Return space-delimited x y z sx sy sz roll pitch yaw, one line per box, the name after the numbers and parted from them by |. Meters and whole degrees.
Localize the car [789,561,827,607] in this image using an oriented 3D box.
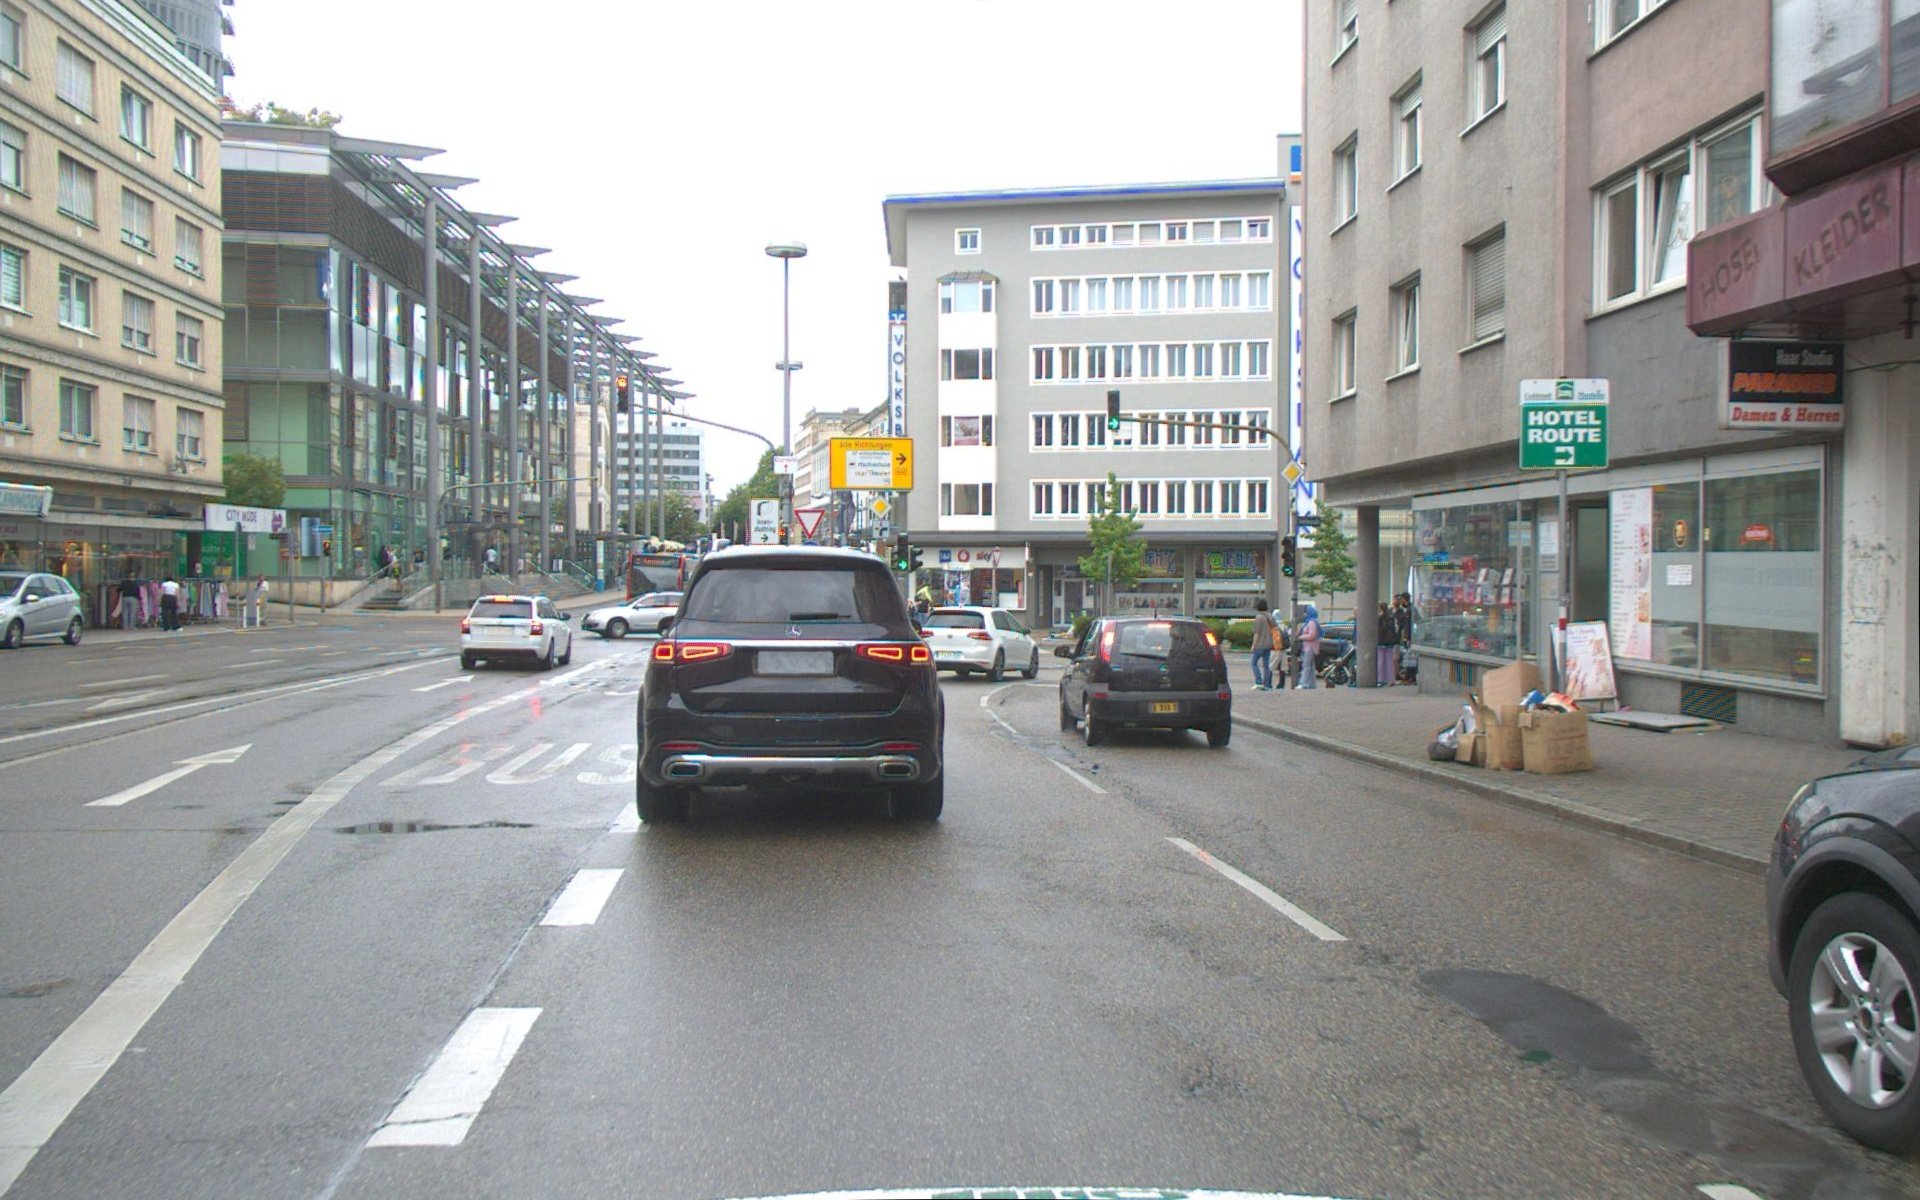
-10.679 -1.134 115.972 2.398 3.009 6.144 2 0 -7 | car

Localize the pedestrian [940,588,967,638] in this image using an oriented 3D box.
-0.251 0.473 60.369 0.815 1.809 0.616 2 0 -11 | pedestrian

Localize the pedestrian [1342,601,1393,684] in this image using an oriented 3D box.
8.748 0.908 35.537 1.013 1.753 0.839 -1 -1 12 | pedestrian

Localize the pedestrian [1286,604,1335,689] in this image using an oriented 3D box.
7.031 0.939 33.189 0.731 1.664 0.594 -4 -5 37 | pedestrian

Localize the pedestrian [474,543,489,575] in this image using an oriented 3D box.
-27.027 -2.317 93.434 0.668 1.743 0.848 1 0 -10 | pedestrian

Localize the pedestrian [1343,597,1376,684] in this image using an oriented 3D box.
8.923 0.913 36.987 0.602 1.900 0.787 -3 -5 11 | pedestrian

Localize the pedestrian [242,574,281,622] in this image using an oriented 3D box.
-23.841 -0.067 56.464 0.854 1.614 1.154 1 0 -2 | pedestrian

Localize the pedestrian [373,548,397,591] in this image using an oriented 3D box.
-27.483 -1.463 79.065 0.863 2.015 0.974 1 0 -5 | pedestrian

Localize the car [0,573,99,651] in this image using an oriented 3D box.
-20.587 0.211 35.970 1.666 1.590 4.199 1 0 -3 | car

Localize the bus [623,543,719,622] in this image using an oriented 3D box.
-14.096 -0.801 82.217 2.863 3.379 18.461 2 0 -4 | bus

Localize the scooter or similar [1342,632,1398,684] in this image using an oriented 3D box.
8.175 1.163 33.037 0.755 1.003 1.047 -1 -3 -6 | scooter or similar

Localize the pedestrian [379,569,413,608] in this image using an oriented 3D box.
-25.577 -0.511 75.005 1.018 1.743 1.007 1 0 22 | pedestrian

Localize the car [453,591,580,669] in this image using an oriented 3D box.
-9.017 0.564 33.974 1.757 1.440 4.626 1 1 -6 | car

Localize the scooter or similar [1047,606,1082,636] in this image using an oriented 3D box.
4.371 0.872 69.140 1.350 1.208 0.544 0 0 15 | scooter or similar

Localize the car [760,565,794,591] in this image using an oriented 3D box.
-13.865 -1.677 125.699 2.376 1.811 5.149 2 0 -5 | car

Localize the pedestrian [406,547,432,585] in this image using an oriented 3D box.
-25.769 -1.604 78.799 1.020 1.743 1.005 1 0 -10 | pedestrian

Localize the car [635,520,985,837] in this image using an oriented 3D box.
-1.210 0.426 12.166 2.048 1.848 4.784 1 1 -8 | car

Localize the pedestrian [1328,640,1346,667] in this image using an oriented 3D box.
8.146 1.151 35.718 0.363 0.581 0.459 -1 -1 14 | pedestrian

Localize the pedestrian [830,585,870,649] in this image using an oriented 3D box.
-2.989 0.456 45.004 0.958 1.701 0.915 2 0 0 | pedestrian

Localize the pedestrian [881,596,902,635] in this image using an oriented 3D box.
-2.444 0.545 59.105 0.618 1.363 0.586 2 0 -11 | pedestrian

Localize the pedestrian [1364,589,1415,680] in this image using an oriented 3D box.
8.352 0.679 32.205 0.818 1.753 0.618 -1 -3 3 | pedestrian

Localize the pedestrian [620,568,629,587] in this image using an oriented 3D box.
-23.475 -1.579 115.800 0.499 1.364 0.419 2 0 -1 | pedestrian

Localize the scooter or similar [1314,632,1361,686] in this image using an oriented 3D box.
8.156 1.278 35.685 0.949 1.128 0.655 -1 -1 14 | scooter or similar

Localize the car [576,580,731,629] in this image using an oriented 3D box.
-9.875 0.141 53.315 4.673 1.471 1.779 1 0 -23 | car

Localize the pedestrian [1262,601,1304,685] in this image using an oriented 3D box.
6.611 0.898 33.865 0.528 1.666 0.837 -2 -4 -5 | pedestrian

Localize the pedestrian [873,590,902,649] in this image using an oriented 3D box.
-2.012 0.553 46.053 0.698 1.595 0.854 2 -1 0 | pedestrian

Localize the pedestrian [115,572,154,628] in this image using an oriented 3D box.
-23.600 -0.014 47.295 0.770 1.563 0.680 2 0 -7 | pedestrian

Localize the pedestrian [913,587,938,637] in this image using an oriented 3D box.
-1.234 0.427 59.135 0.764 1.718 0.639 2 0 4 | pedestrian

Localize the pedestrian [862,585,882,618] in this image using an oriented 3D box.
-4.977 0.069 93.509 1.004 1.806 0.798 2 0 -11 | pedestrian

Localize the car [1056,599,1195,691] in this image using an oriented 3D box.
3.450 0.862 33.721 1.909 1.601 4.002 3 2 19 | car

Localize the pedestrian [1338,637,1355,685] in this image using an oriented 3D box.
8.462 1.326 36.186 0.255 1.017 0.472 -4 -2 18 | pedestrian

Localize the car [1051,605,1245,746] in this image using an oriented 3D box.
2.107 0.824 19.460 1.682 1.445 3.768 2 -1 -2 | car

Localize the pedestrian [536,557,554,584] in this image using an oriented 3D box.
-27.241 -1.932 108.647 1.020 1.743 1.005 1 0 -10 | pedestrian

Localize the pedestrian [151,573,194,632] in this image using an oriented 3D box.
-22.494 0.071 47.222 0.761 1.656 0.840 2 0 41 | pedestrian

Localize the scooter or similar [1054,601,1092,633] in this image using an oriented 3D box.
4.852 0.734 70.921 1.465 1.279 0.931 2 -2 15 | scooter or similar

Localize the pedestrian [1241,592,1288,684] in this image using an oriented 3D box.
5.735 0.719 31.163 0.614 1.722 0.780 -2 -2 30 | pedestrian

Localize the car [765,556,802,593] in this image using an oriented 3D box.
-17.807 -2.535 167.294 2.393 3.525 6.157 2 0 5 | car

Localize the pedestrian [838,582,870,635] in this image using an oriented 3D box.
-3.805 0.302 59.370 0.992 1.818 0.851 2 0 -11 | pedestrian

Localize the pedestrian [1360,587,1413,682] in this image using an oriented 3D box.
8.710 0.709 33.830 0.818 1.898 0.658 -2 -4 -1 | pedestrian

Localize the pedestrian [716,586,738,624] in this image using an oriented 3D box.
-12.139 0.239 86.255 0.935 1.919 0.810 2 0 2 | pedestrian

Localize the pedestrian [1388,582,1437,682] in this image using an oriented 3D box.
9.048 0.642 33.086 0.800 1.965 0.732 0 -1 3 | pedestrian

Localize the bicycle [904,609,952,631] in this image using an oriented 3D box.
-1.483 0.919 76.399 2.092 1.010 0.695 1 0 9 | bicycle

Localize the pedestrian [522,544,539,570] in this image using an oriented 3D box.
-29.878 -2.960 114.937 1.020 1.743 1.005 1 0 -10 | pedestrian

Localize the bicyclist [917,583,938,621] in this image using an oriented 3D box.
-1.498 0.084 76.400 0.826 1.734 0.623 0 0 9 | bicyclist

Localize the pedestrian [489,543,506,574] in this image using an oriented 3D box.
-26.275 -2.363 93.898 0.812 1.743 0.800 1 0 -10 | pedestrian

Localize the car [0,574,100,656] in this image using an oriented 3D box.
-20.615 0.274 35.958 1.812 1.577 4.395 3 1 -6 | car

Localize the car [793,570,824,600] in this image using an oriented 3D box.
-10.039 -0.974 109.450 1.826 1.858 4.097 2 0 -7 | car

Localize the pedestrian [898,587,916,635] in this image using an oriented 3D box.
-1.886 0.405 59.100 0.557 1.698 0.502 1 0 2 | pedestrian

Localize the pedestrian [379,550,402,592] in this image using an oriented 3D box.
-27.553 -1.404 80.018 0.858 2.015 0.849 1 0 -5 | pedestrian

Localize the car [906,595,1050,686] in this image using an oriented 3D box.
0.445 0.778 34.287 1.909 1.601 4.003 3 2 16 | car

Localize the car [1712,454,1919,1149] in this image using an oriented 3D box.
3.573 0.547 3.252 1.871 1.816 4.296 0 1 -7 | car
